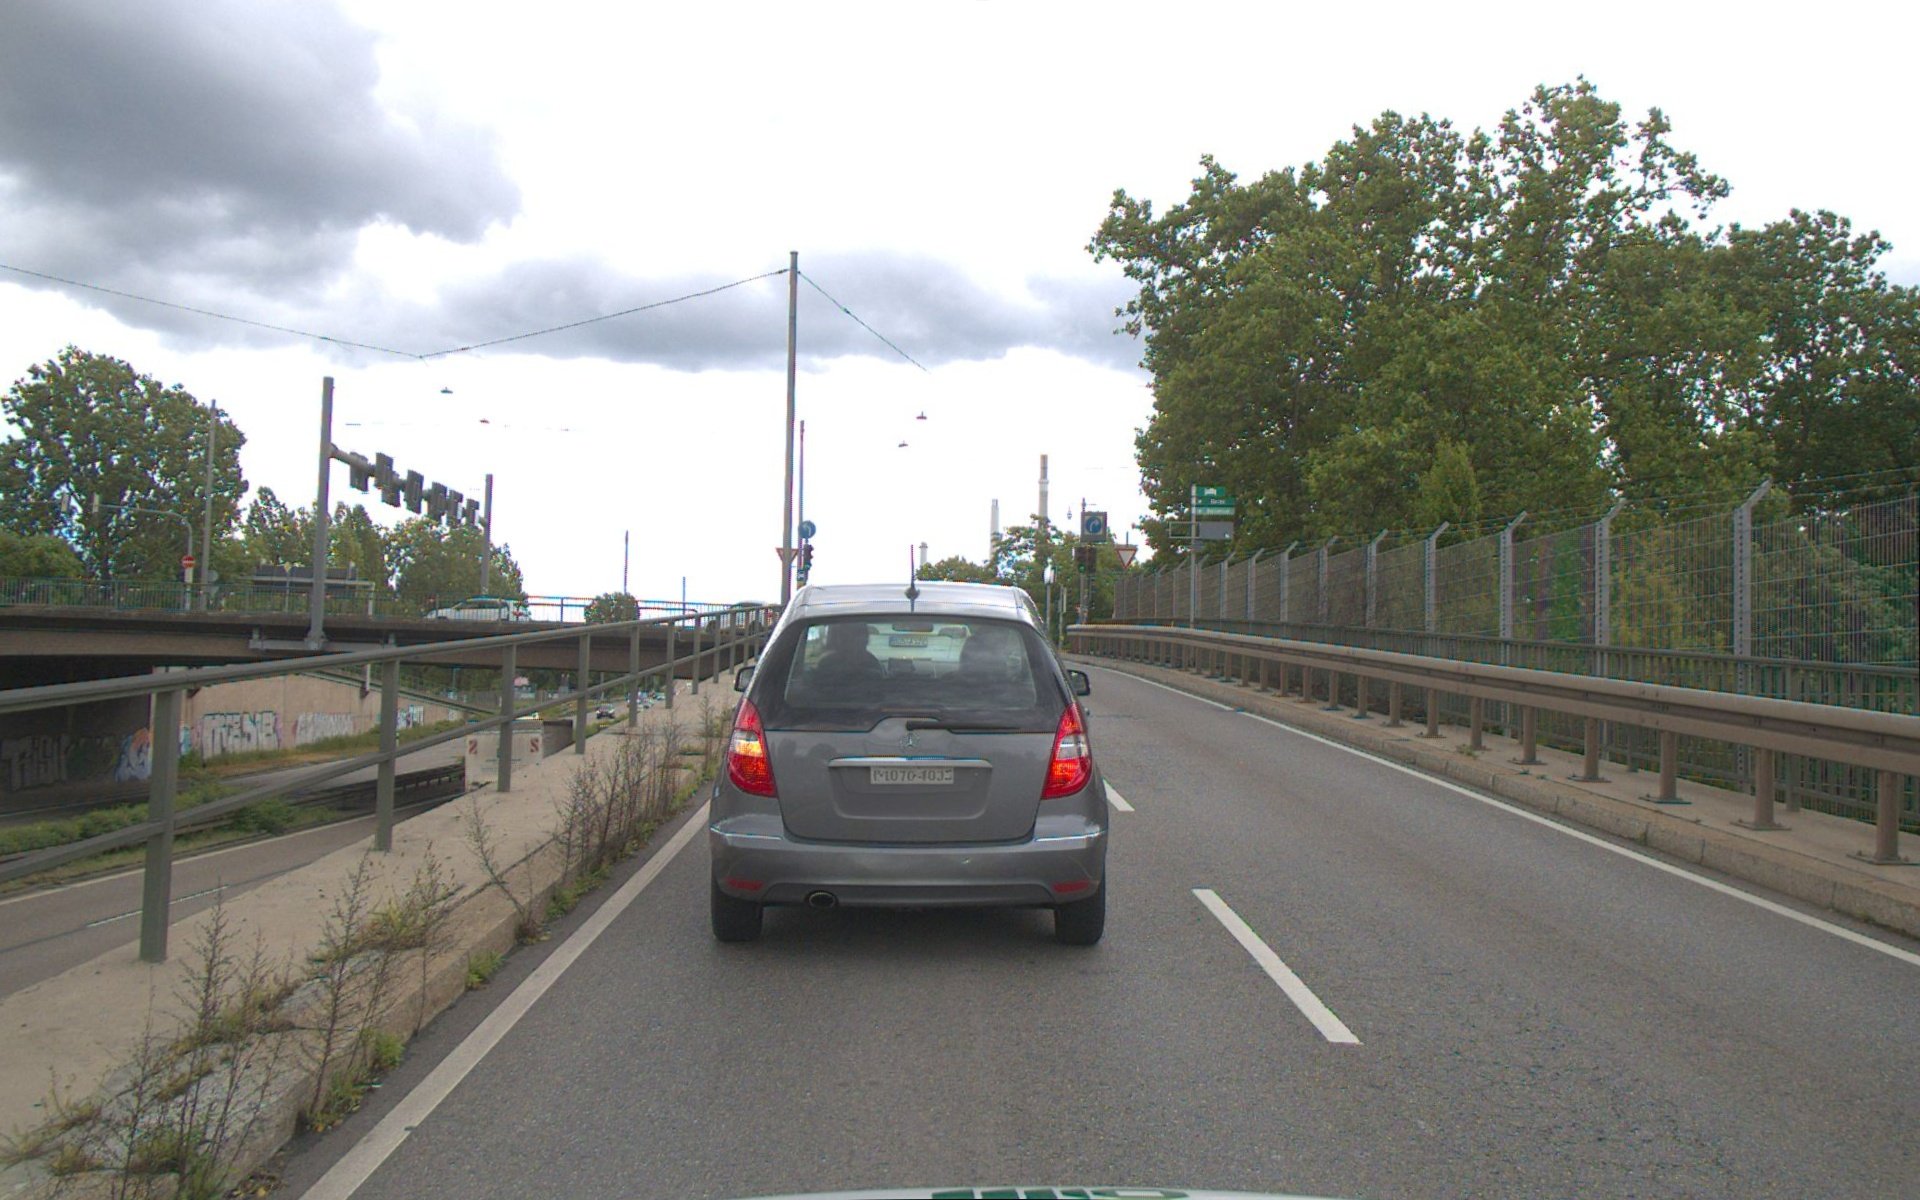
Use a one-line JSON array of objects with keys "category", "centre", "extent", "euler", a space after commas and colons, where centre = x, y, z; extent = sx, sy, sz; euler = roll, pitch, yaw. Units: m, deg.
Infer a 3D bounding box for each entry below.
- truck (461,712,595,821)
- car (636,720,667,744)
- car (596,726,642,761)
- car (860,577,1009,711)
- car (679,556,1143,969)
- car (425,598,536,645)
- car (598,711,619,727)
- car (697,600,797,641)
[{"category": "truck", "centre": [-14.725, 5.607, 56.956], "extent": [2.690, 3.351, 7.438], "euler": [1, -3, -1]}, {"category": "car", "centre": [-23.581, 10.087, 126.615], "extent": [1.861, 1.650, 4.174], "euler": [1, -3, -4]}, {"category": "car", "centre": [-21.187, 8.902, 102.972], "extent": [1.860, 2.038, 4.956], "euler": [1, -3, -1]}, {"category": "car", "centre": [-0.466, 0.588, 24.108], "extent": [1.893, 1.747, 4.402], "euler": [1, 0, -4]}, {"category": "car", "centre": [-0.219, 0.646, 8.581], "extent": [1.820, 1.616, 3.999], "euler": [1, 0, -1]}, {"category": "car", "centre": [-20.479, 0.914, 70.808], "extent": [4.113, 1.903, 2.000], "euler": [1, 0, 1]}, {"category": "car", "centre": [-42.729, 14.442, 200.912], "extent": [1.877, 1.769, 4.548], "euler": [0, -3, -4]}, {"category": "car", "centre": [-8.735, 0.830, 67.548], "extent": [1.825, 1.604, 4.275], "euler": [1, 0, -45]}]
